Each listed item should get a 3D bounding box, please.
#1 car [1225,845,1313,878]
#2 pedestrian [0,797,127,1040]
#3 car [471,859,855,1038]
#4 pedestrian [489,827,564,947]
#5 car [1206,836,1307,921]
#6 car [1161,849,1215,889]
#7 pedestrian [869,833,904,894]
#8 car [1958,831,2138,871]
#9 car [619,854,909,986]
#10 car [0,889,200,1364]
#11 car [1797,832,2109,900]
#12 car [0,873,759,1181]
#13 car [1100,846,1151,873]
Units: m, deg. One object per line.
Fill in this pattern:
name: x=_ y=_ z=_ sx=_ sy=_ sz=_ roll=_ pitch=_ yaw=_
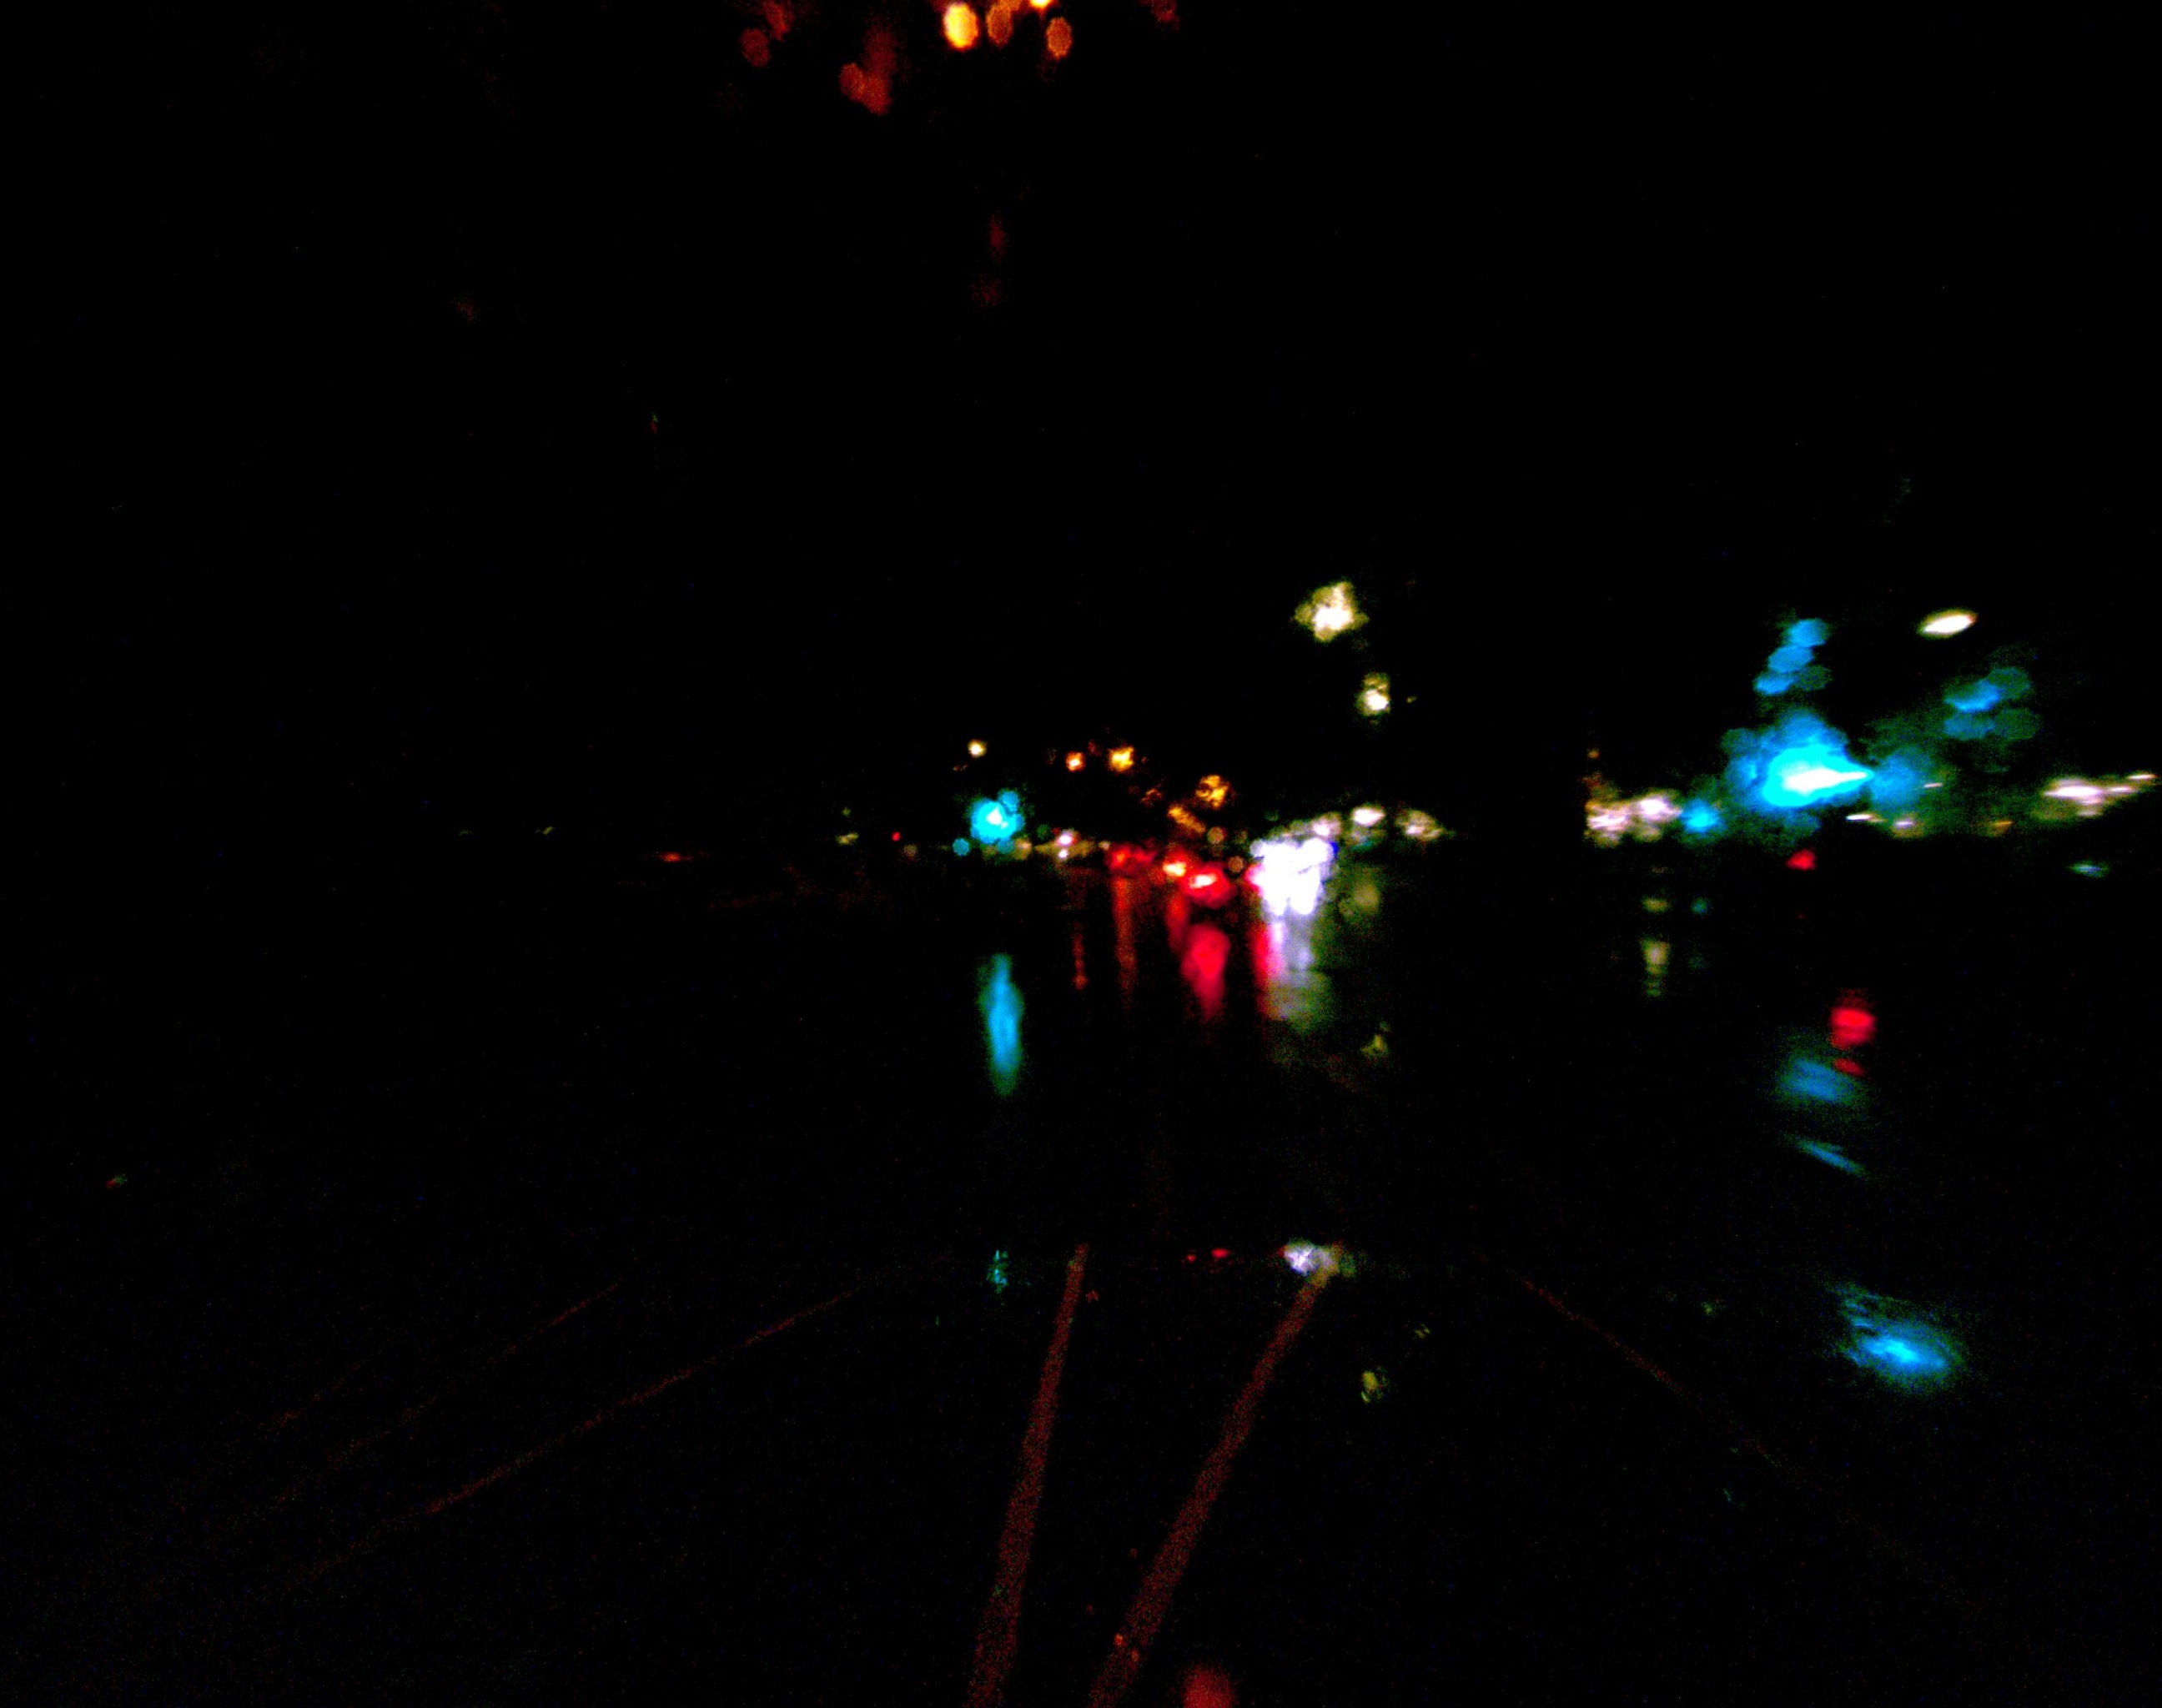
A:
car: x=8.754 y=0.284 z=35.928 sx=2.001 sy=1.417 sz=5.062 roll=-1 pitch=1 yaw=-12
pedestrian: x=-8.227 y=0.478 z=5.880 sx=0.657 sy=1.779 sz=0.784 roll=1 pitch=-1 yaw=5
car: x=-4.413 y=0.860 z=8.373 sx=3.402 sy=1.583 sz=1.591 roll=0 pitch=1 yaw=-31
pedestrian: x=-7.882 y=0.461 z=10.813 sx=0.575 sy=1.654 sz=0.601 roll=1 pitch=-1 yaw=5
car: x=4.001 y=0.493 z=17.963 sx=1.809 sy=1.759 sz=4.273 roll=-1 pitch=1 yaw=6
car: x=4.076 y=0.526 z=29.425 sx=1.826 sy=1.417 sz=4.207 roll=-1 pitch=1 yaw=5
pedestrian: x=-6.108 y=0.297 z=23.906 sx=0.805 sy=1.895 sz=0.885 roll=1 pitch=-1 yaw=5
car: x=39.730 y=-0.131 z=31.399 sx=4.209 sy=1.557 sz=1.853 roll=0 pitch=1 yaw=31
car: x=-4.528 y=0.806 z=10.980 sx=3.607 sy=1.552 sz=1.707 roll=-1 pitch=1 yaw=-33
car: x=-5.387 y=0.976 z=2.080 sx=3.487 sy=1.552 sz=1.633 roll=-1 pitch=1 yaw=-28
car: x=20.658 y=0.298 z=18.412 sx=4.717 sy=1.417 sz=2.004 roll=-2 pitch=0 yaw=41
car: x=-4.613 y=0.923 z=5.354 sx=4.122 sy=1.483 sz=1.590 roll=0 pitch=1 yaw=-32
car: x=2.413 y=0.268 z=42.284 sx=1.626 sy=1.417 sz=4.200 roll=-1 pitch=1 yaw=-14
